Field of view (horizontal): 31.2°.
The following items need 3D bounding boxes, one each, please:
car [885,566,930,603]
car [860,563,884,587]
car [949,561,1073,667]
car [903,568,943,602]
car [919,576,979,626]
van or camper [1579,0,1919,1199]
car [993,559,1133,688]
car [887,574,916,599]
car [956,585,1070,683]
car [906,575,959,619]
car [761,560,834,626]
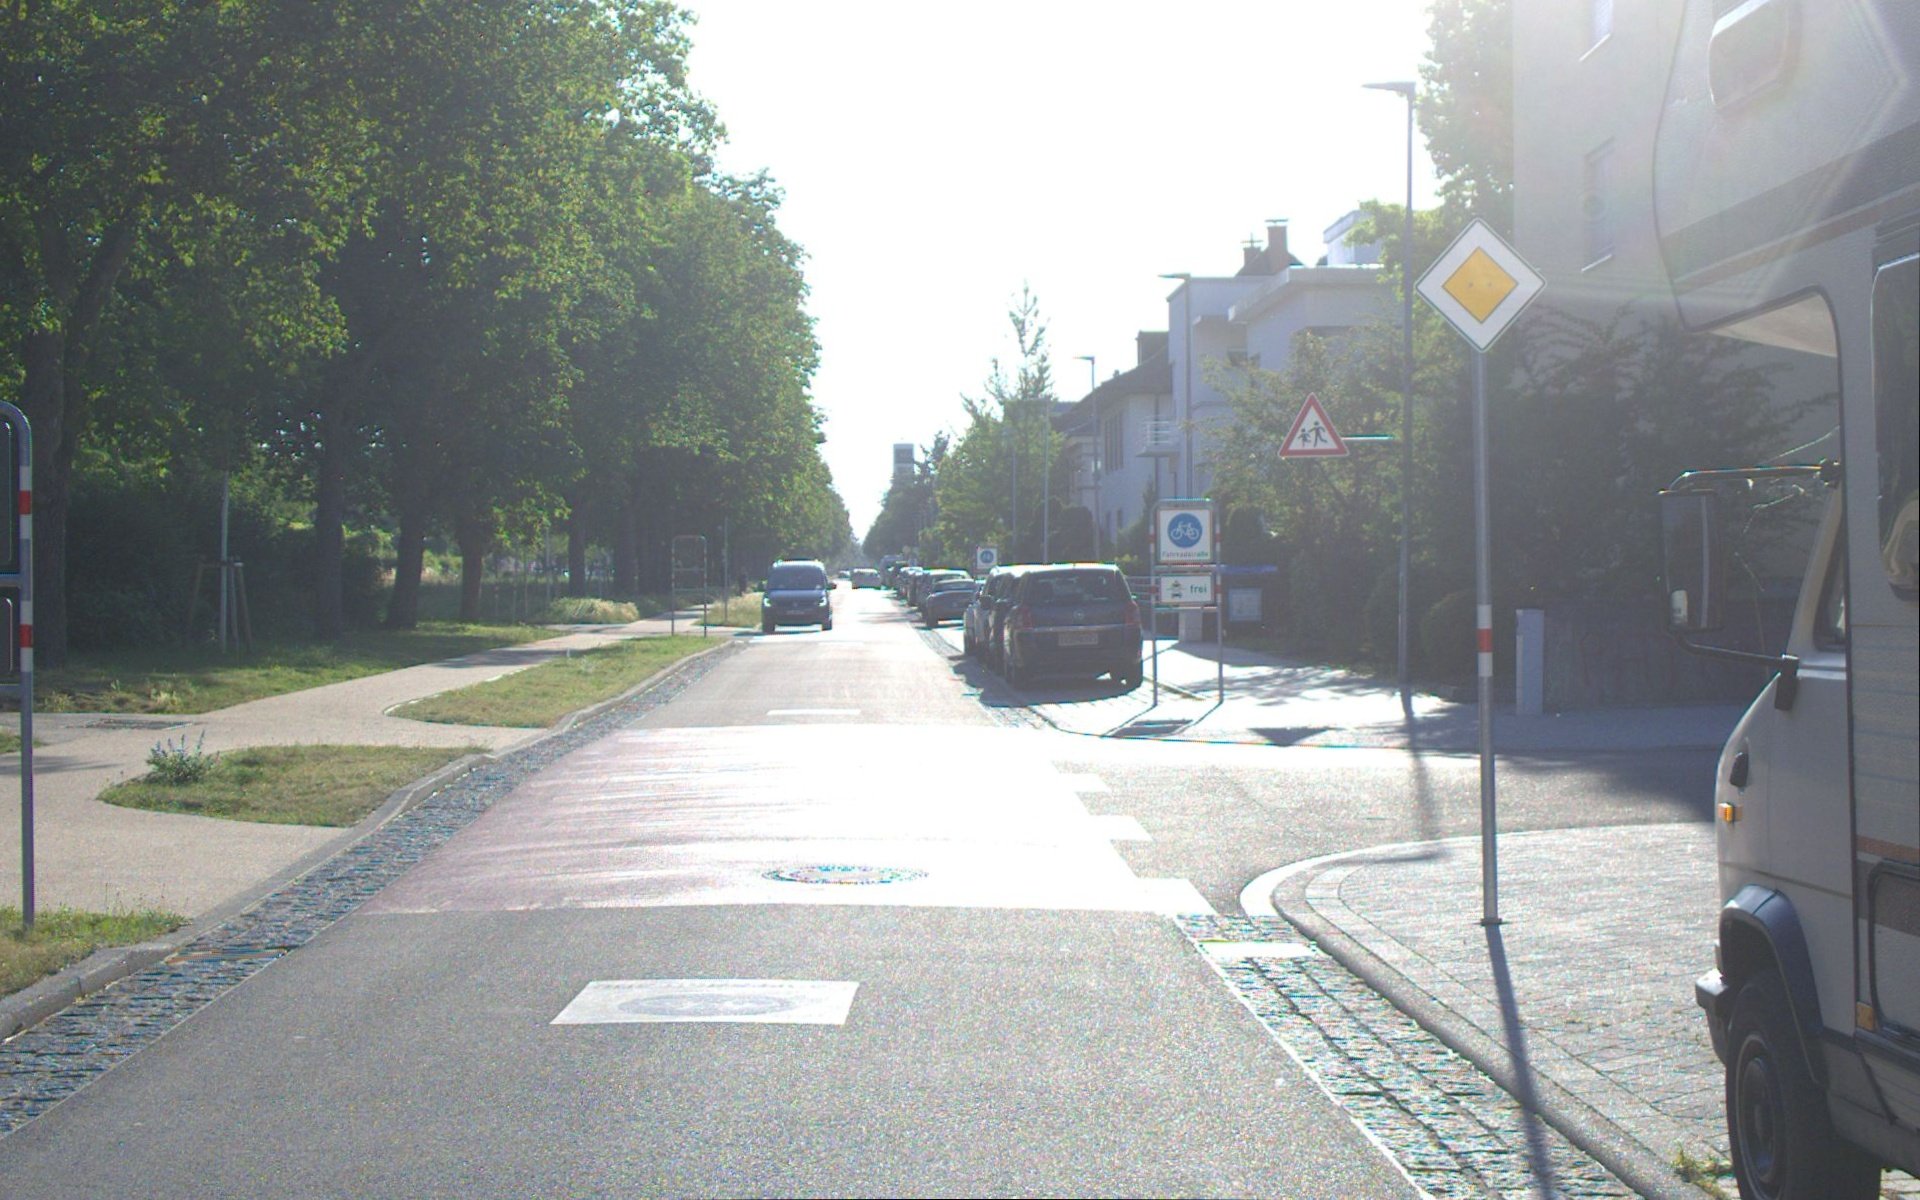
[{"bbox_3d":[-2.030,-0.586,131.670,1.626,1.405,4.249,-1,0,-2],"label":"car"},{"bbox_3d":[-6.191,-1.728,241.729,1.626,1.663,4.249,-1,0,-2],"label":"car"},{"bbox_3d":[0.867,0.223,57.764,1.993,1.711,4.000,-1,0,1],"label":"car"},{"bbox_3d":[-1.598,-0.638,148.059,1.626,1.405,4.249,-1,0,-2],"label":"car"},{"bbox_3d":[-0.340,0.033,100.329,1.626,1.405,4.249,-1,0,-2],"label":"car"},{"bbox_3d":[2.698,-0.050,5.357,2.234,2.894,5.673,-1,-1,-2],"label":"van or camper"},{"bbox_3d":[1.355,0.301,46.739,1.626,1.663,4.249,-1,0,-2],"label":"car"},{"bbox_3d":[-3.413,-0.771,199.811,1.626,1.405,4.249,-1,0,-2],"label":"car"},{"bbox_3d":[0.987,0.602,62.744,1.993,1.711,4.000,-1,0,1],"label":"car"},{"bbox_3d":[-0.905,-0.096,111.689,1.626,1.405,4.249,-1,0,-2],"label":"car"},{"bbox_3d":[-4.219,-0.174,89.847,1.825,1.663,4.249,-1,0,-2],"label":"car"}]
